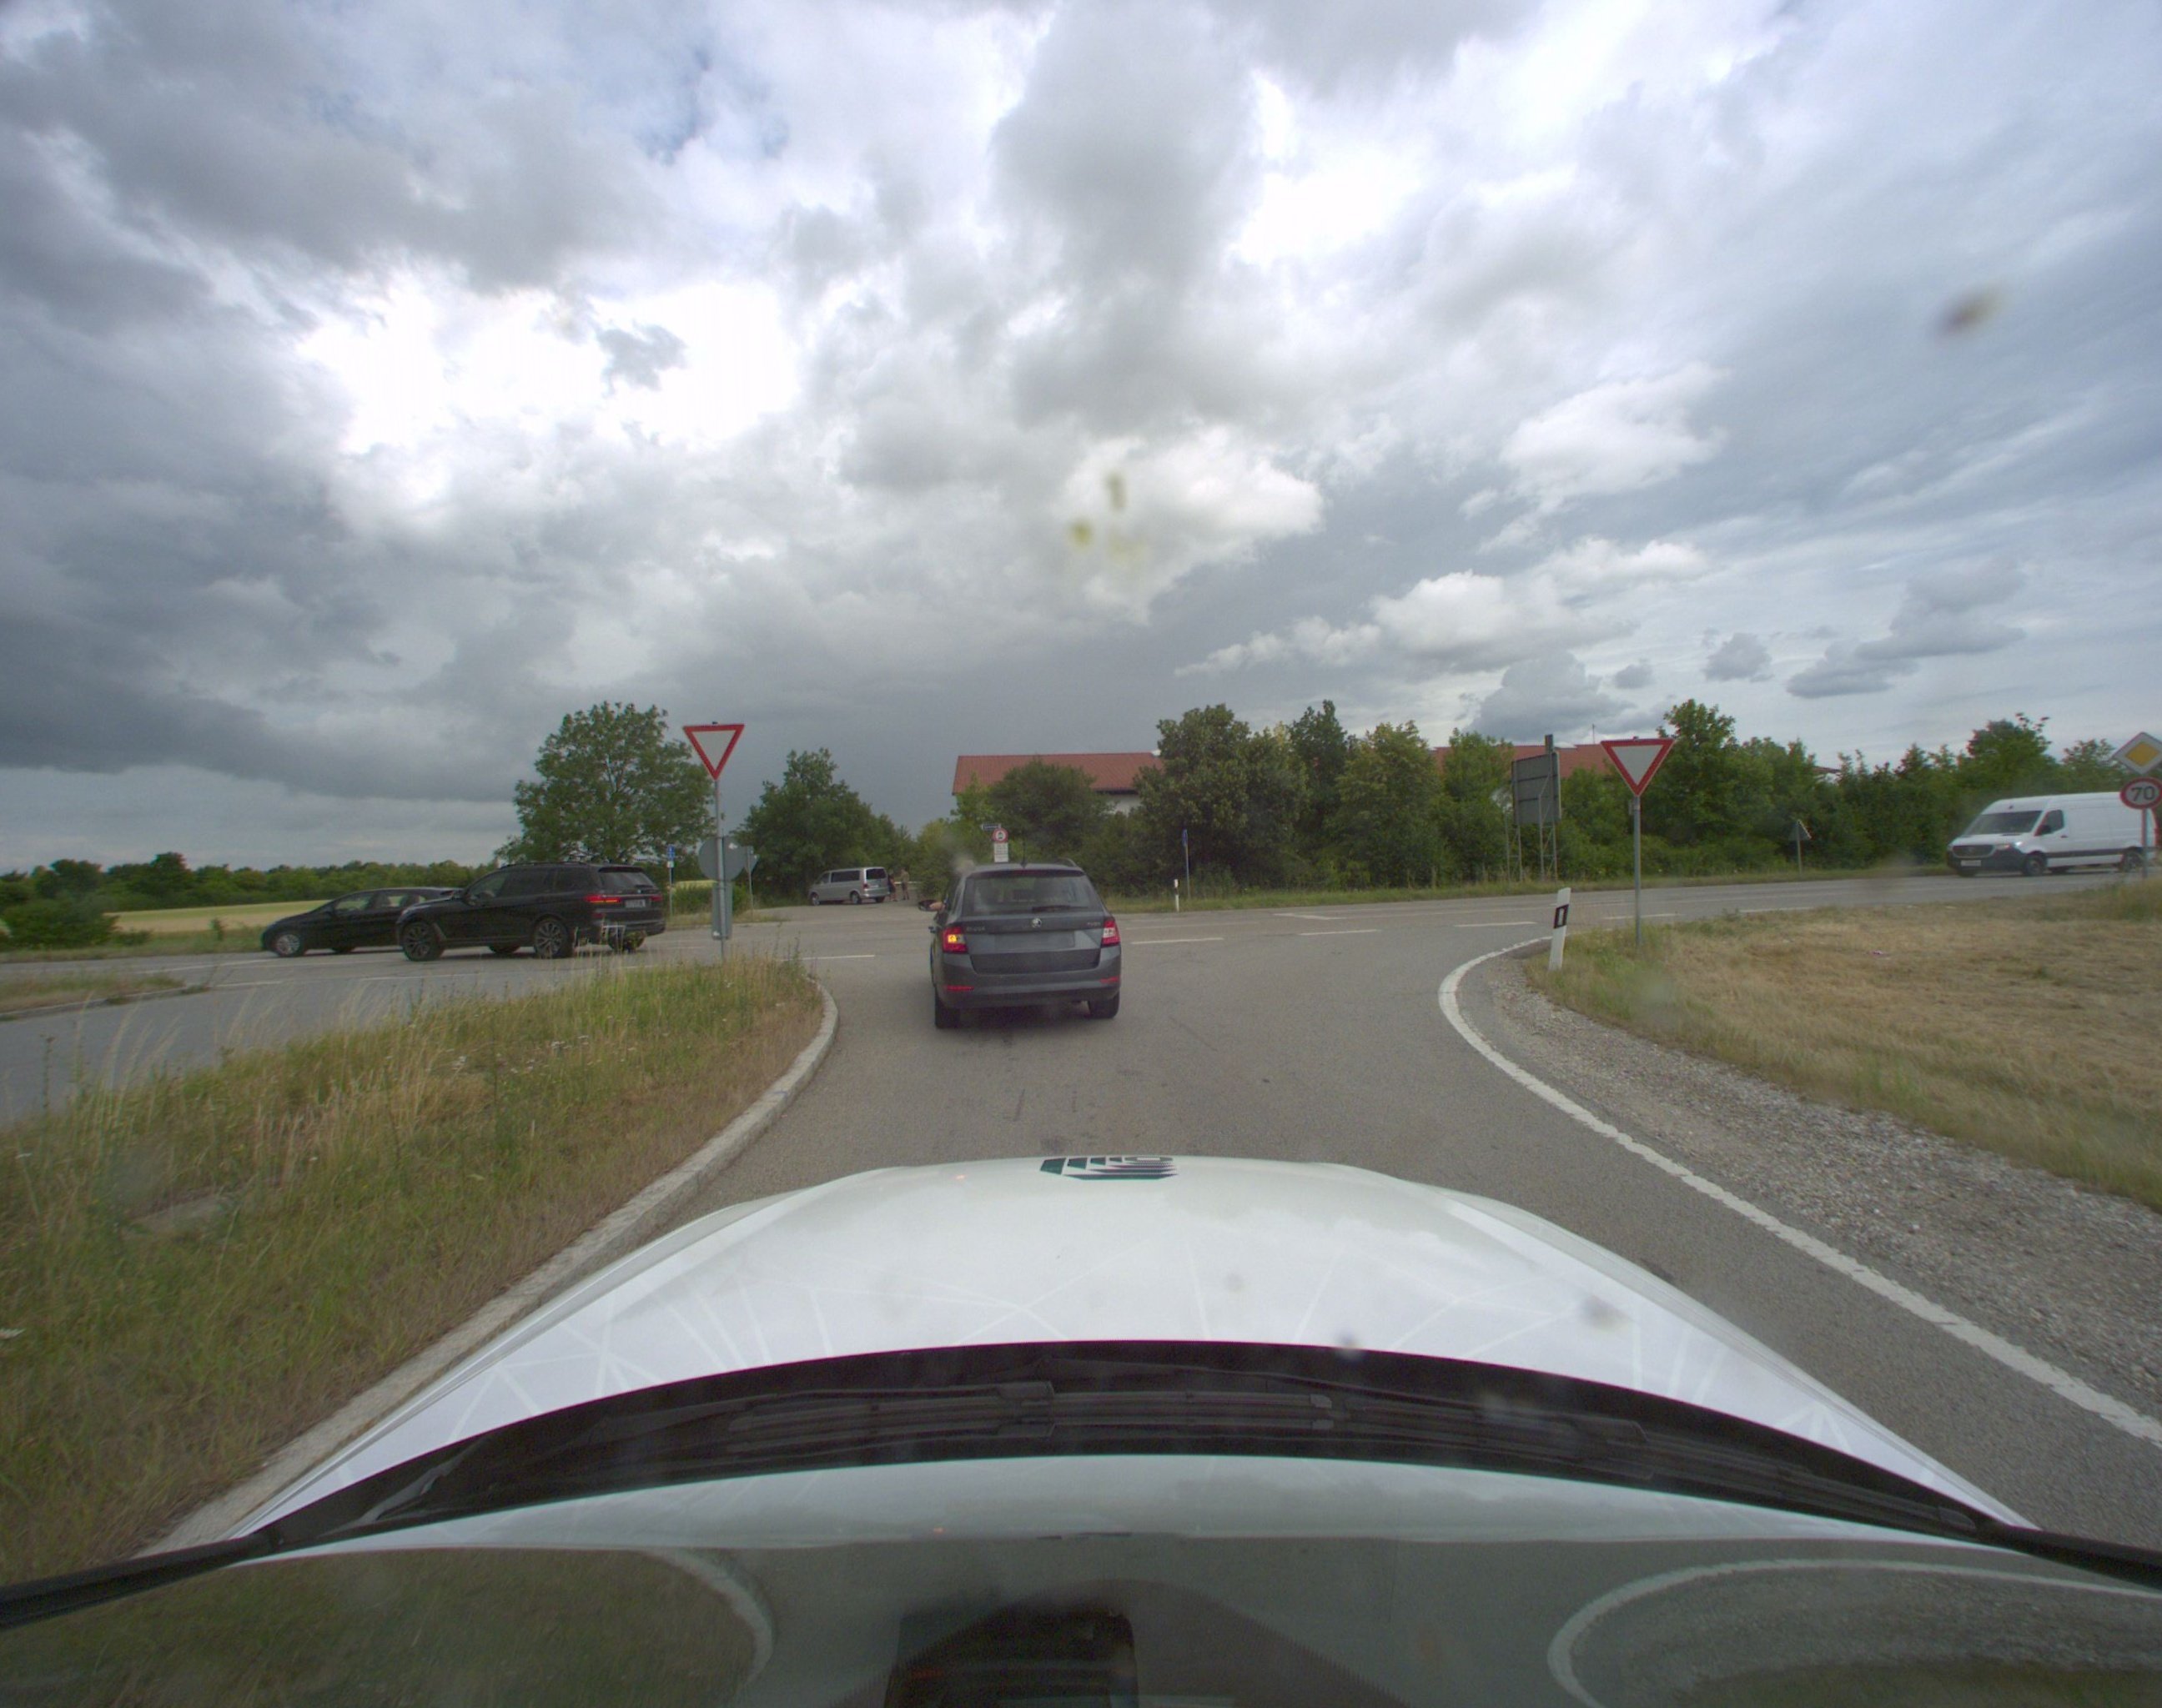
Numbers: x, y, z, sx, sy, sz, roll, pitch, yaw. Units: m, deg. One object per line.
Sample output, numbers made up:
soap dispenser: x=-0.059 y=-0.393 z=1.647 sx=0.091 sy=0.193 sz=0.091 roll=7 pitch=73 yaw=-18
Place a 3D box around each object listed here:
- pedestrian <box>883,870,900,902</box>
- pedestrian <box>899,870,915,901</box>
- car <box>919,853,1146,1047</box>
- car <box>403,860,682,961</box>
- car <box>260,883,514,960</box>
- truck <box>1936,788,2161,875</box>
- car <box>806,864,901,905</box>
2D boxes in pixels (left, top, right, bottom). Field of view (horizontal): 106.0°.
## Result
pedestrian: x=-10.415 y=1.768 z=44.797 sx=0.523 sy=1.725 sz=0.646 roll=-3 pitch=0 yaw=31
pedestrian: x=-9.927 y=1.788 z=46.537 sx=0.578 sy=1.682 sz=0.569 roll=-3 pitch=0 yaw=20
car: x=-0.713 y=0.741 z=8.286 sx=1.678 sy=1.462 sz=3.690 roll=-1 pitch=0 yaw=-13
car: x=-10.613 y=1.097 z=16.150 sx=4.595 sy=1.774 sz=2.008 roll=-2 pitch=-1 yaw=14
car: x=-16.857 y=1.603 z=20.018 sx=4.284 sy=1.487 sz=1.995 roll=-3 pitch=-1 yaw=-8
truck: x=31.964 y=-0.720 z=26.836 sx=5.992 sy=2.576 sz=1.994 roll=-2 pitch=-2 yaw=-8
car: x=-12.670 y=1.692 z=45.231 sx=4.851 sy=2.013 sz=2.357 roll=-3 pitch=1 yaw=32
